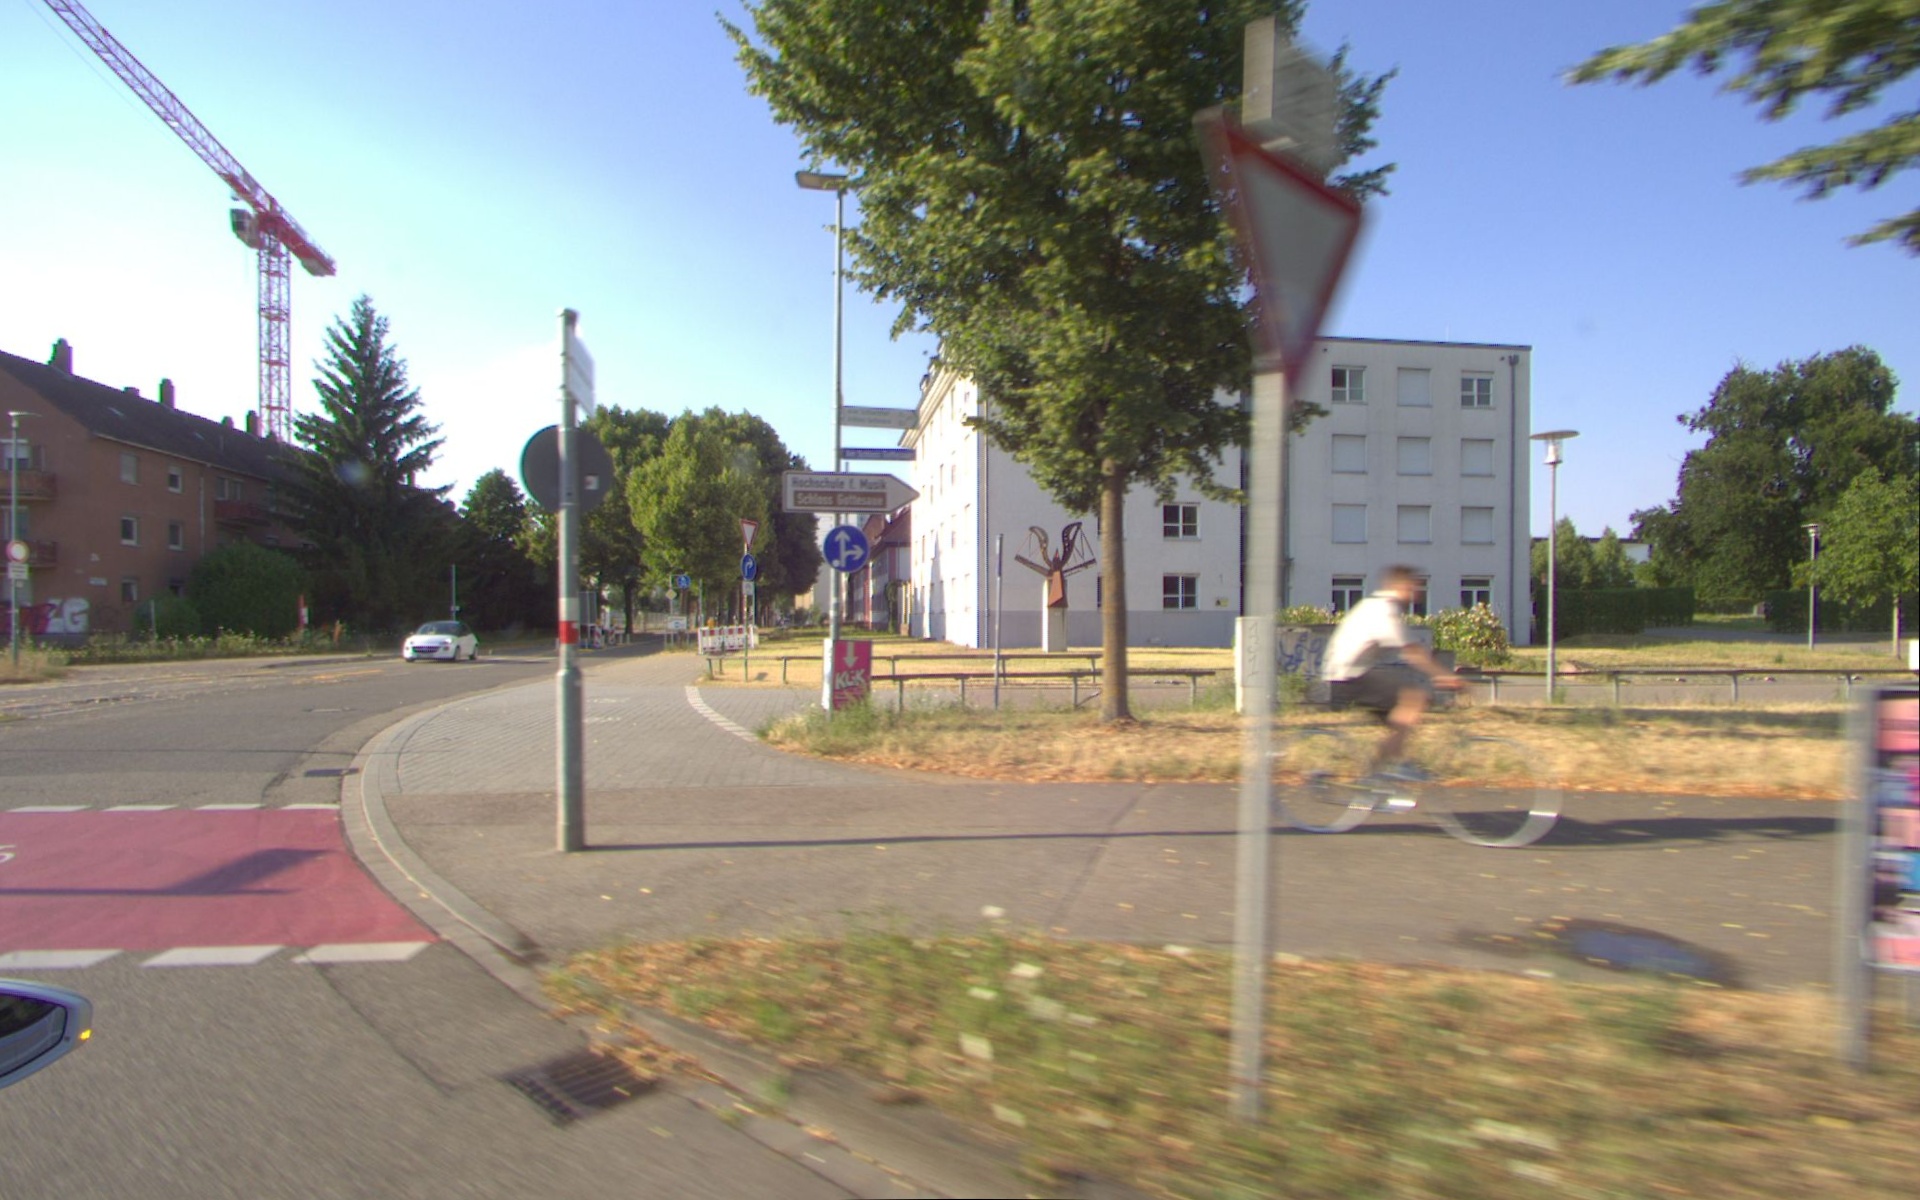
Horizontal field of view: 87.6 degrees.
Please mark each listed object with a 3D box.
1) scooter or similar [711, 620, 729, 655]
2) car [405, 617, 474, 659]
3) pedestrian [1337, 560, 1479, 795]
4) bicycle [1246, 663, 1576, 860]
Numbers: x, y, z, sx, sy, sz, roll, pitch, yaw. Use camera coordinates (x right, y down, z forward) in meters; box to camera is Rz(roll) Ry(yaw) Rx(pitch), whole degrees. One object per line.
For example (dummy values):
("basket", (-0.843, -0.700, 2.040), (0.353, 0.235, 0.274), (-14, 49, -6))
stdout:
("scooter or similar", (-9.130, 1.403, 38.082), (0.550, 1.309, 1.462), (0, -1, -9))
("car", (-18.996, 1.373, 36.673), (1.735, 1.439, 3.616), (2, -1, -20))
("pedestrian", (2.903, 0.470, 6.475), (0.756, 1.410, 0.650), (-1, 0, 30))
("bicycle", (2.871, 0.978, 6.482), (1.885, 1.069, 0.531), (-1, 1, 31))
